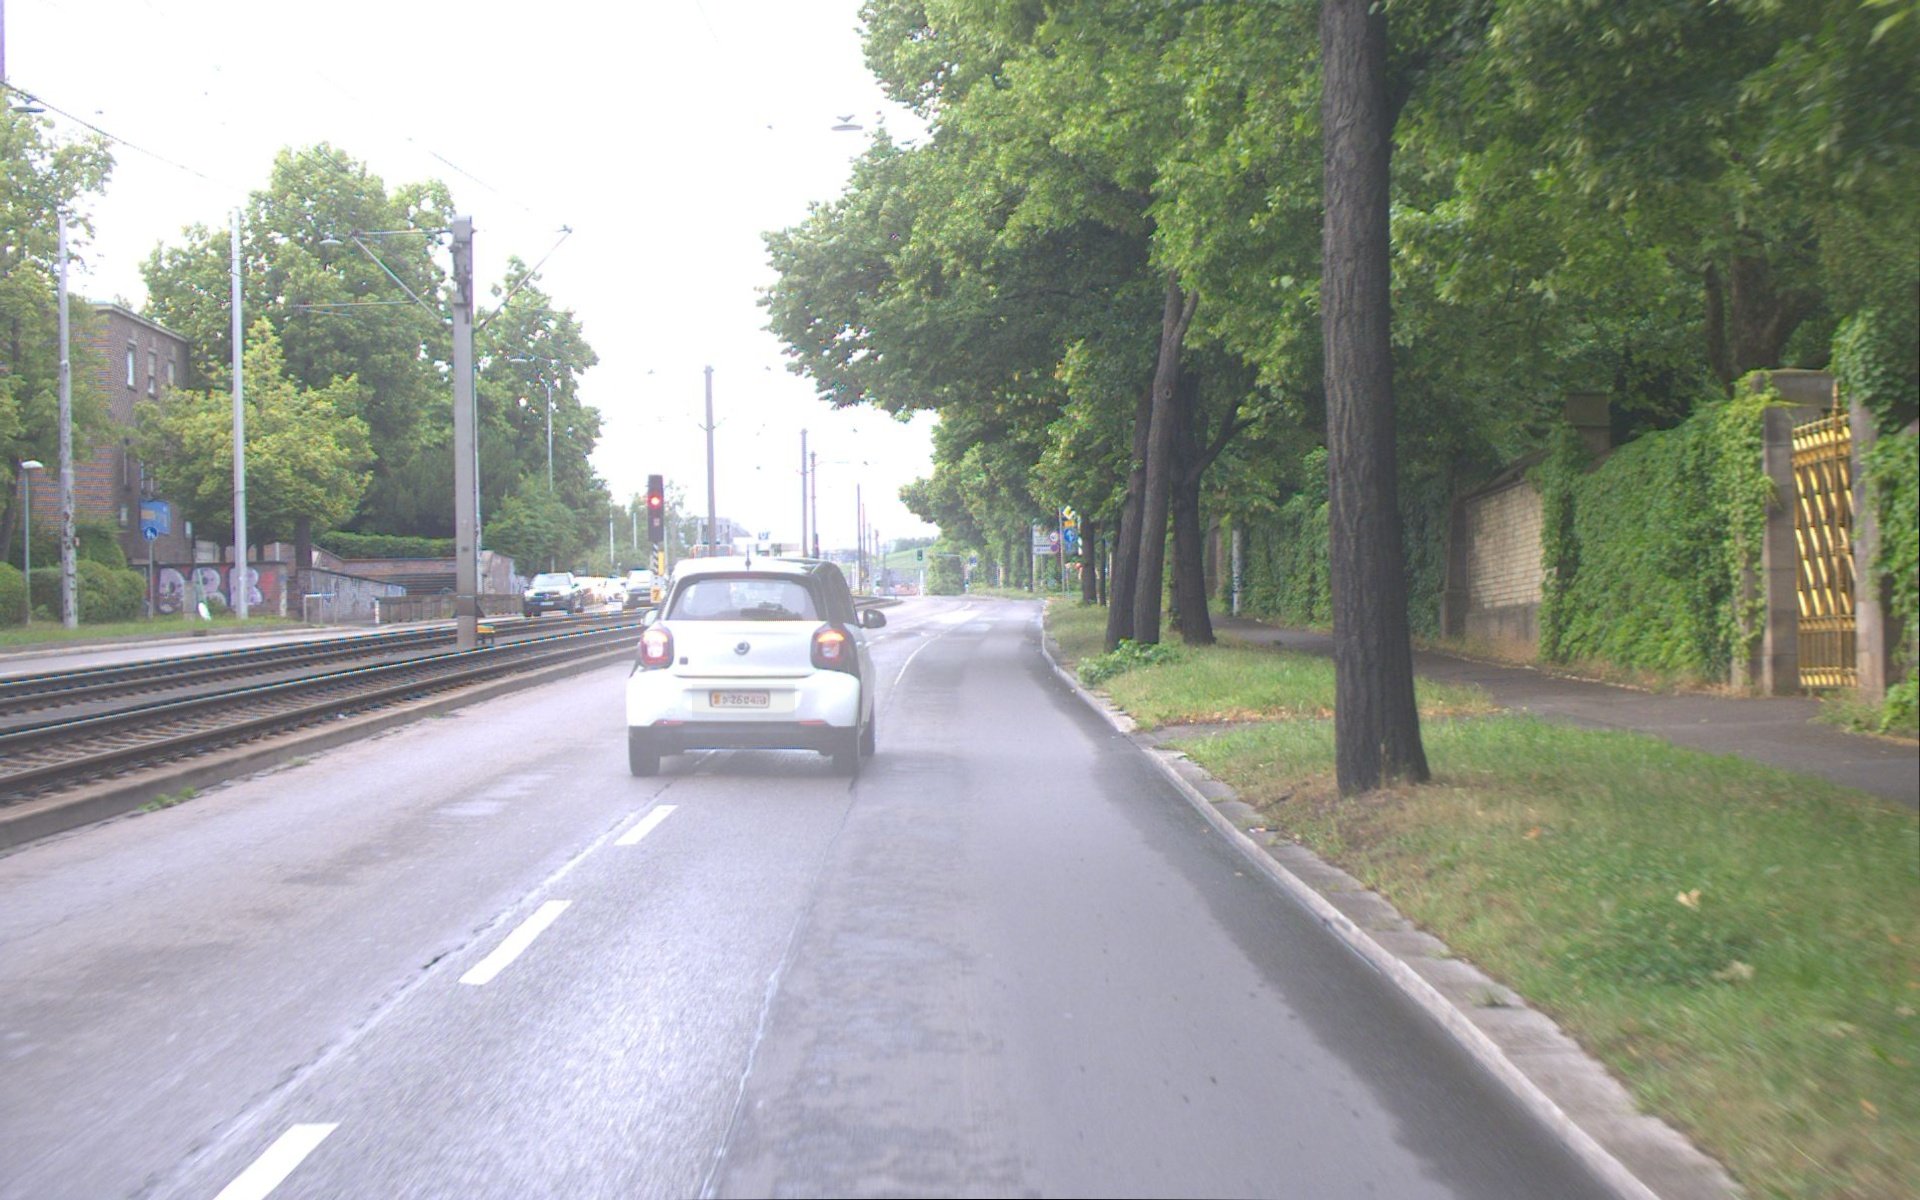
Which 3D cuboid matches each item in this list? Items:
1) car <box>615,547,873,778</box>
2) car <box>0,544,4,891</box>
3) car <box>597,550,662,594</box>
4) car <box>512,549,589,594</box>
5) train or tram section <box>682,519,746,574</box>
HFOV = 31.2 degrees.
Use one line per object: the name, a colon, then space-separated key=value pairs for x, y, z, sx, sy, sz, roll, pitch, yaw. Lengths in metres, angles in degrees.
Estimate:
car: x=-1.531 y=0.402 z=25.503 sx=1.676 sy=1.525 sz=3.722 roll=1 pitch=1 yaw=0
car: x=-3.036 y=0.636 z=5.849 sx=1.794 sy=1.480 sz=3.965 roll=1 pitch=1 yaw=-2
car: x=-12.681 y=-1.083 z=132.185 sx=1.835 sy=1.650 sz=4.239 roll=-1 pitch=1 yaw=4
car: x=-15.290 y=-1.077 z=128.615 sx=2.013 sy=1.650 sz=4.616 roll=-1 pitch=1 yaw=4
train or tram section: x=-16.572 y=-3.607 z=231.412 sx=2.831 sy=3.593 sz=9.273 roll=0 pitch=1 yaw=-13
